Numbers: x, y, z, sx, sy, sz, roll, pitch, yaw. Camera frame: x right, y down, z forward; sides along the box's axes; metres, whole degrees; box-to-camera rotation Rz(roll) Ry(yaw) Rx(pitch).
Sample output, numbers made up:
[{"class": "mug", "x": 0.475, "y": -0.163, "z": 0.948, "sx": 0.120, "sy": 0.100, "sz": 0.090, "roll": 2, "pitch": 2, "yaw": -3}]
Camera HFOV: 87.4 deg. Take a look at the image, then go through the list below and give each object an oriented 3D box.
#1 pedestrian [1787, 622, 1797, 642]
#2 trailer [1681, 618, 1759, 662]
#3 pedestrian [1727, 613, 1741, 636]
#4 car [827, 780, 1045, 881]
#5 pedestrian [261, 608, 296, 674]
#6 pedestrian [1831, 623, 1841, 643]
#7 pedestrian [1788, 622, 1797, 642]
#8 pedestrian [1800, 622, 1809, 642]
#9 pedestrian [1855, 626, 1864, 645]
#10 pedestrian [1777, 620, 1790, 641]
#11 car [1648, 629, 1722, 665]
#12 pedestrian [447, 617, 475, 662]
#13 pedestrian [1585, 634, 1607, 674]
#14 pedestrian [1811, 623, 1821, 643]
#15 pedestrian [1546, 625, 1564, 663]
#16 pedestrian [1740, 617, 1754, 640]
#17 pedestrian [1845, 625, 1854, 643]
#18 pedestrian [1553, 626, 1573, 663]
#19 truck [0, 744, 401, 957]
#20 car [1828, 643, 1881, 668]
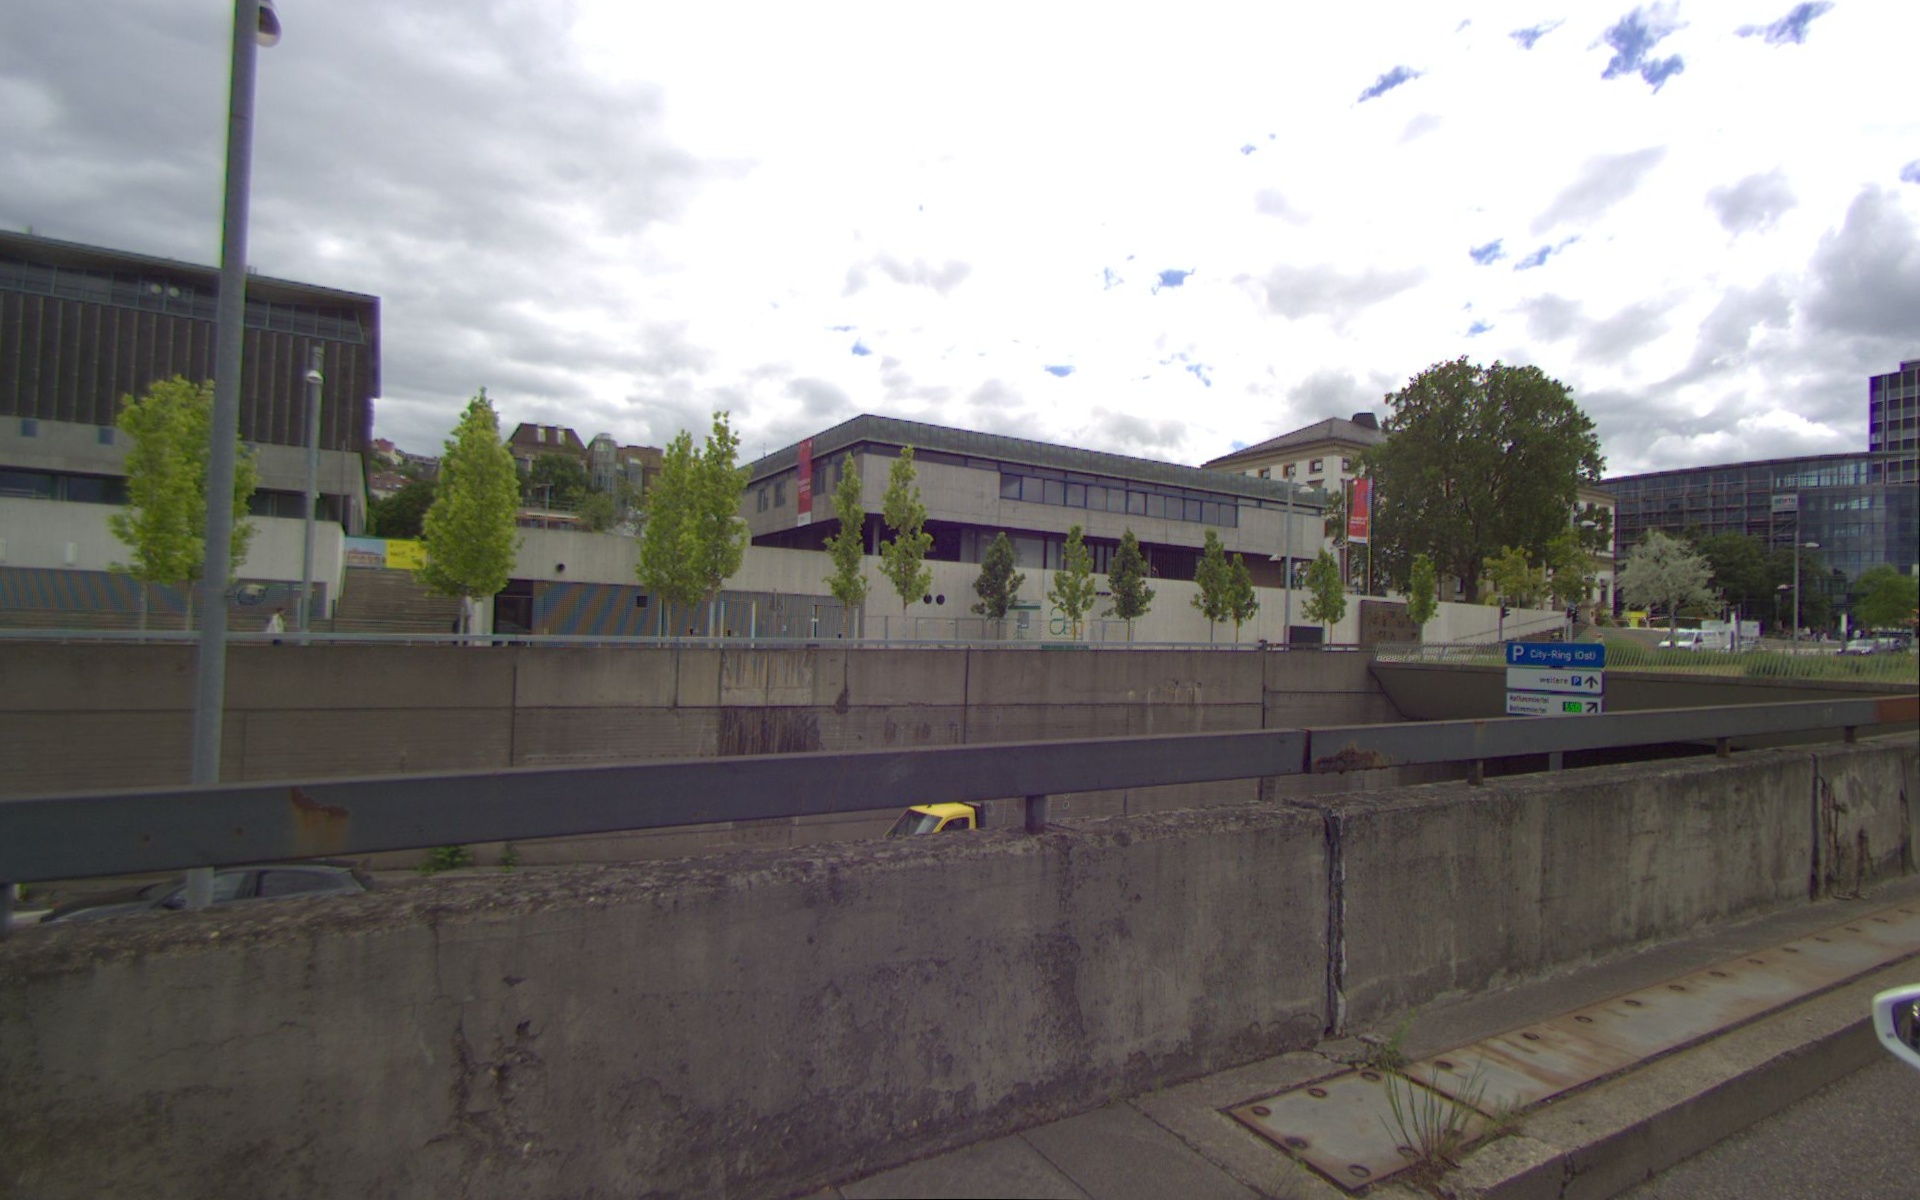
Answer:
[{"class": "pedestrian", "x": 86.312, "y": 3.289, "z": 104.230, "sx": 0.729, "sy": 2.040, "sz": 0.917, "roll": -1, "pitch": -1, "yaw": 37}, {"class": "trailer", "x": 48.891, "y": 2.547, "z": 64.575, "sx": 5.443, "sy": 2.640, "sz": 2.027, "roll": 1, "pitch": 1, "yaw": -30}, {"class": "pedestrian", "x": 70.221, "y": 2.239, "z": 91.123, "sx": 1.103, "sy": 2.040, "sz": 0.734, "roll": 0, "pitch": -1, "yaw": -35}, {"class": "car", "x": -0.512, "y": 5.081, "z": 22.548, "sx": 4.345, "sy": 1.789, "sz": 2.153, "roll": 6, "pitch": -5, "yaw": -30}, {"class": "pedestrian", "x": -21.264, "y": 1.260, "z": 31.357, "sx": 0.782, "sy": 2.040, "sz": 0.736, "roll": 0, "pitch": -1, "yaw": -23}, {"class": "pedestrian", "x": 90.072, "y": 3.372, "z": 103.257, "sx": 0.731, "sy": 2.040, "sz": 0.788, "roll": -1, "pitch": -1, "yaw": 45}, {"class": "pedestrian", "x": 85.448, "y": 3.237, "z": 103.080, "sx": 0.730, "sy": 2.040, "sz": 0.916, "roll": -1, "pitch": -1, "yaw": 41}, {"class": "pedestrian", "x": 86.738, "y": 3.307, "z": 103.159, "sx": 0.730, "sy": 2.040, "sz": 0.916, "roll": -1, "pitch": -1, "yaw": 40}, {"class": "pedestrian", "x": 99.254, "y": 3.907, "z": 110.831, "sx": 0.731, "sy": 2.040, "sz": 0.788, "roll": -1, "pitch": -1, "yaw": 45}, {"class": "pedestrian", "x": 81.669, "y": 2.996, "z": 99.581, "sx": 0.783, "sy": 2.040, "sz": 0.735, "roll": 0, "pitch": -1, "yaw": -29}, {"class": "car", "x": 44.643, "y": 2.882, "z": 61.832, "sx": 4.635, "sy": 2.040, "sz": 1.985, "roll": 0, "pitch": 0, "yaw": -30}, {"class": "pedestrian", "x": -18.491, "y": 1.458, "z": 37.235, "sx": 0.779, "sy": 1.664, "sz": 0.739, "roll": 0, "pitch": -1, "yaw": -14}, {"class": "pedestrian", "x": 33.033, "y": 2.797, "z": 52.176, "sx": 0.845, "sy": 2.040, "sz": 0.629, "roll": 0, "pitch": -1, "yaw": 17}, {"class": "pedestrian", "x": 87.601, "y": 3.362, "z": 102.845, "sx": 0.729, "sy": 2.040, "sz": 1.078, "roll": -1, "pitch": -1, "yaw": 39}, {"class": "pedestrian", "x": 32.556, "y": 2.386, "z": 54.957, "sx": 0.822, "sy": 2.040, "sz": 0.791, "roll": -1, "pitch": -1, "yaw": 32}, {"class": "pedestrian", "x": 71.090, "y": 2.534, "z": 90.701, "sx": 0.784, "sy": 2.040, "sz": 0.734, "roll": 4, "pitch": -2, "yaw": -32}, {"class": "pedestrian", "x": 98.733, "y": 3.781, "z": 111.462, "sx": 0.731, "sy": 2.040, "sz": 0.788, "roll": -1, "pitch": -1, "yaw": 45}, {"class": "pedestrian", "x": 34.860, "y": 2.573, "z": 58.062, "sx": 0.623, "sy": 2.041, "sz": 0.724, "roll": -4, "pitch": 2, "yaw": -37}, {"class": "truck", "x": -11.878, "y": 3.747, "z": 15.847, "sx": 5.316, "sy": 2.432, "sz": 2.172, "roll": 1, "pitch": -1, "yaw": -30}, {"class": "car", "x": 60.627, "y": 3.783, "z": 68.082, "sx": 3.556, "sy": 1.514, "sz": 1.723, "roll": 3, "pitch": 0, "yaw": -32}]
